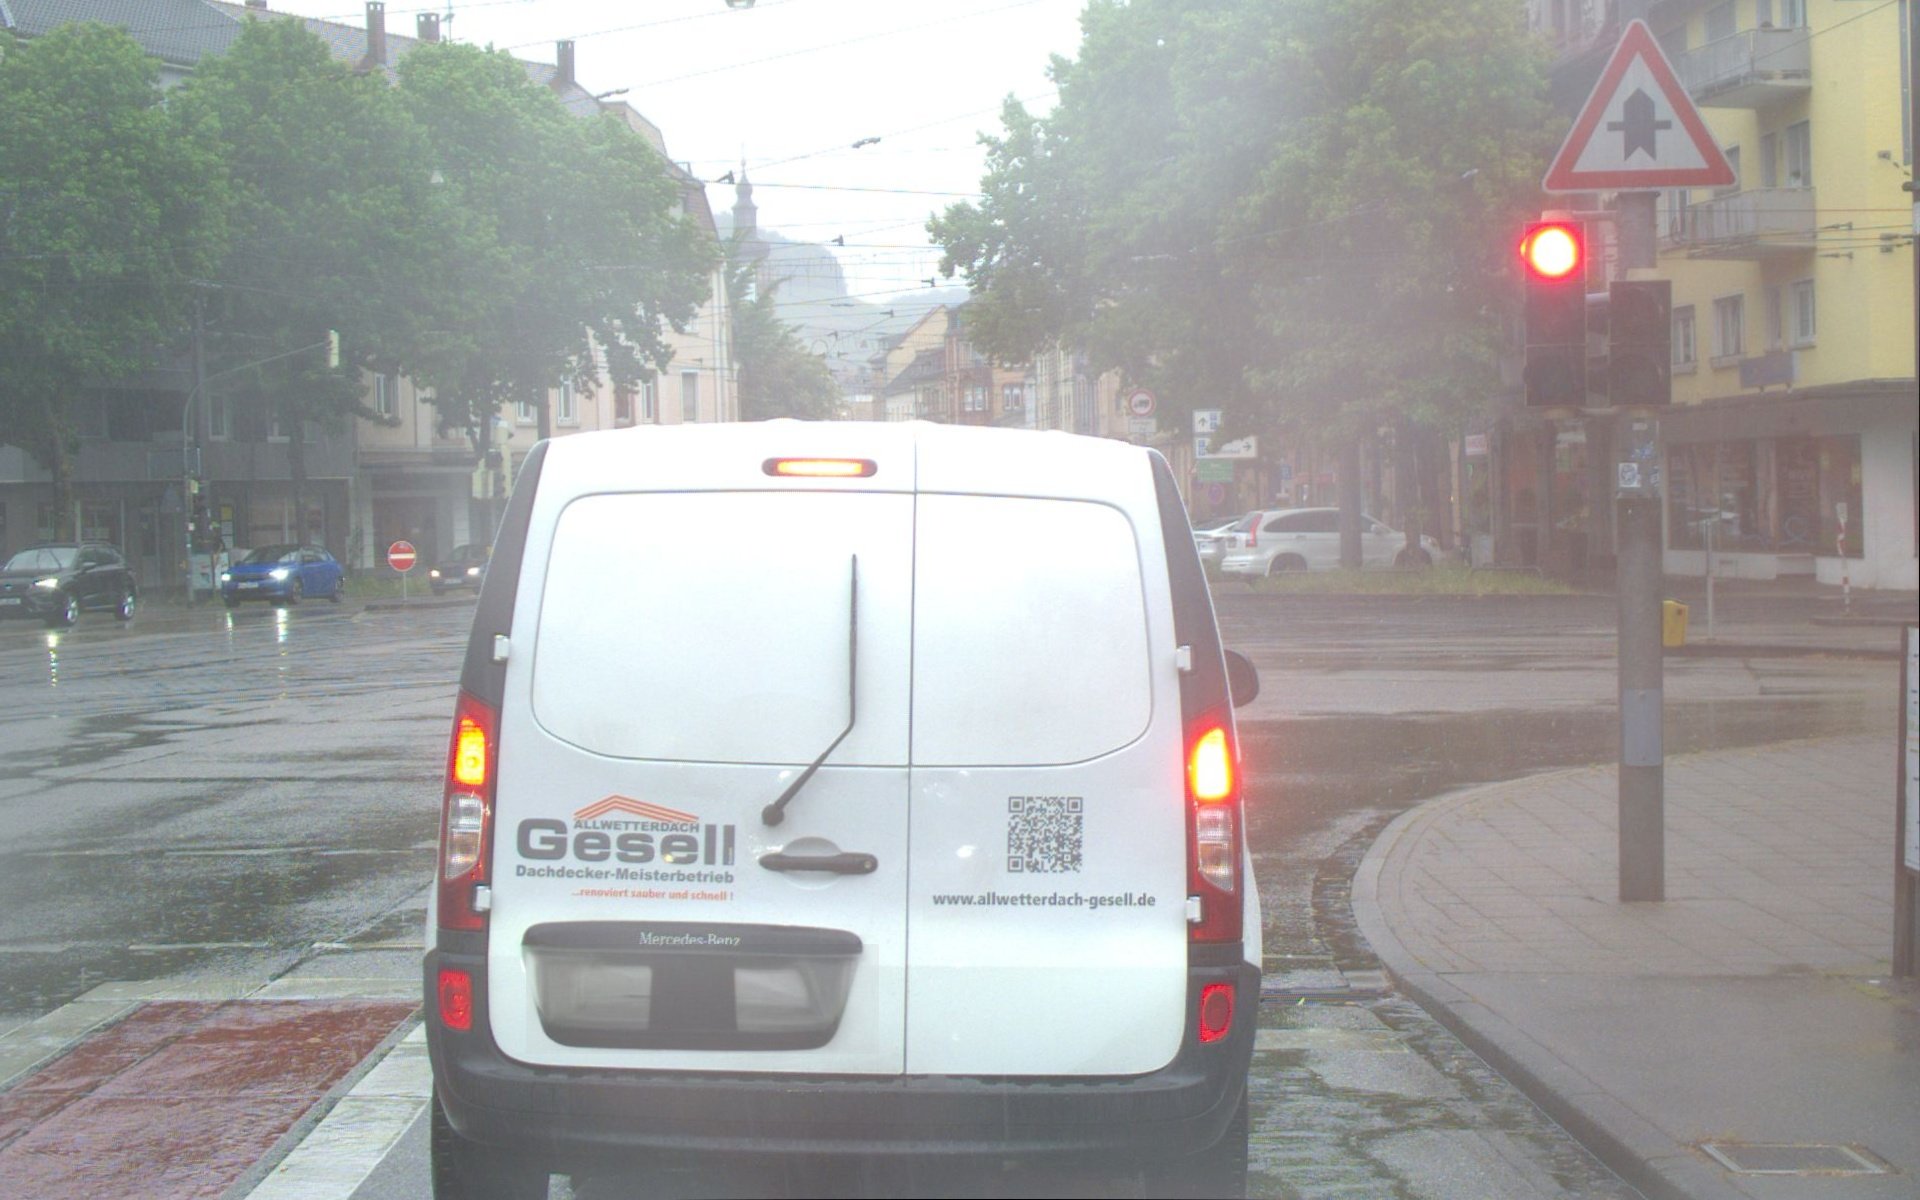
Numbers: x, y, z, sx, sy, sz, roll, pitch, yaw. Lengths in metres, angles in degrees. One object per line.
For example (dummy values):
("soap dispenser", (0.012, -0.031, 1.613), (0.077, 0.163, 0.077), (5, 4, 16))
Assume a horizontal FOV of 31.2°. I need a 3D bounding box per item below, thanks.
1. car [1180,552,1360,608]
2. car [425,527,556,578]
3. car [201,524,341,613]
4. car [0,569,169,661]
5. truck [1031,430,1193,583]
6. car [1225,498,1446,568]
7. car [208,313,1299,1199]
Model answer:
("car", (6.369, -0.423, 70.831), (3.441, 1.126, 1.472), (0, 1, -8))
("car", (-12.382, -1.275, 90.912), (1.952, 1.235, 3.997), (0, 2, 16))
("car", (-15.912, -0.750, 79.630), (1.994, 2.007, 3.999), (0, 1, 8))
("car", (-17.210, 0.266, 66.583), (1.952, 1.602, 3.997), (0, 2, 16))
("truck", (5.545, -3.215, 121.377), (3.471, 5.070, 15.300), (0, 1, 11))
("car", (7.518, -1.349, 68.944), (4.165, 1.334, 1.521), (-1, 2, -7))
("car", (-0.425, 0.427, 9.138), (2.100, 2.005, 4.963), (0, 1, -1))
